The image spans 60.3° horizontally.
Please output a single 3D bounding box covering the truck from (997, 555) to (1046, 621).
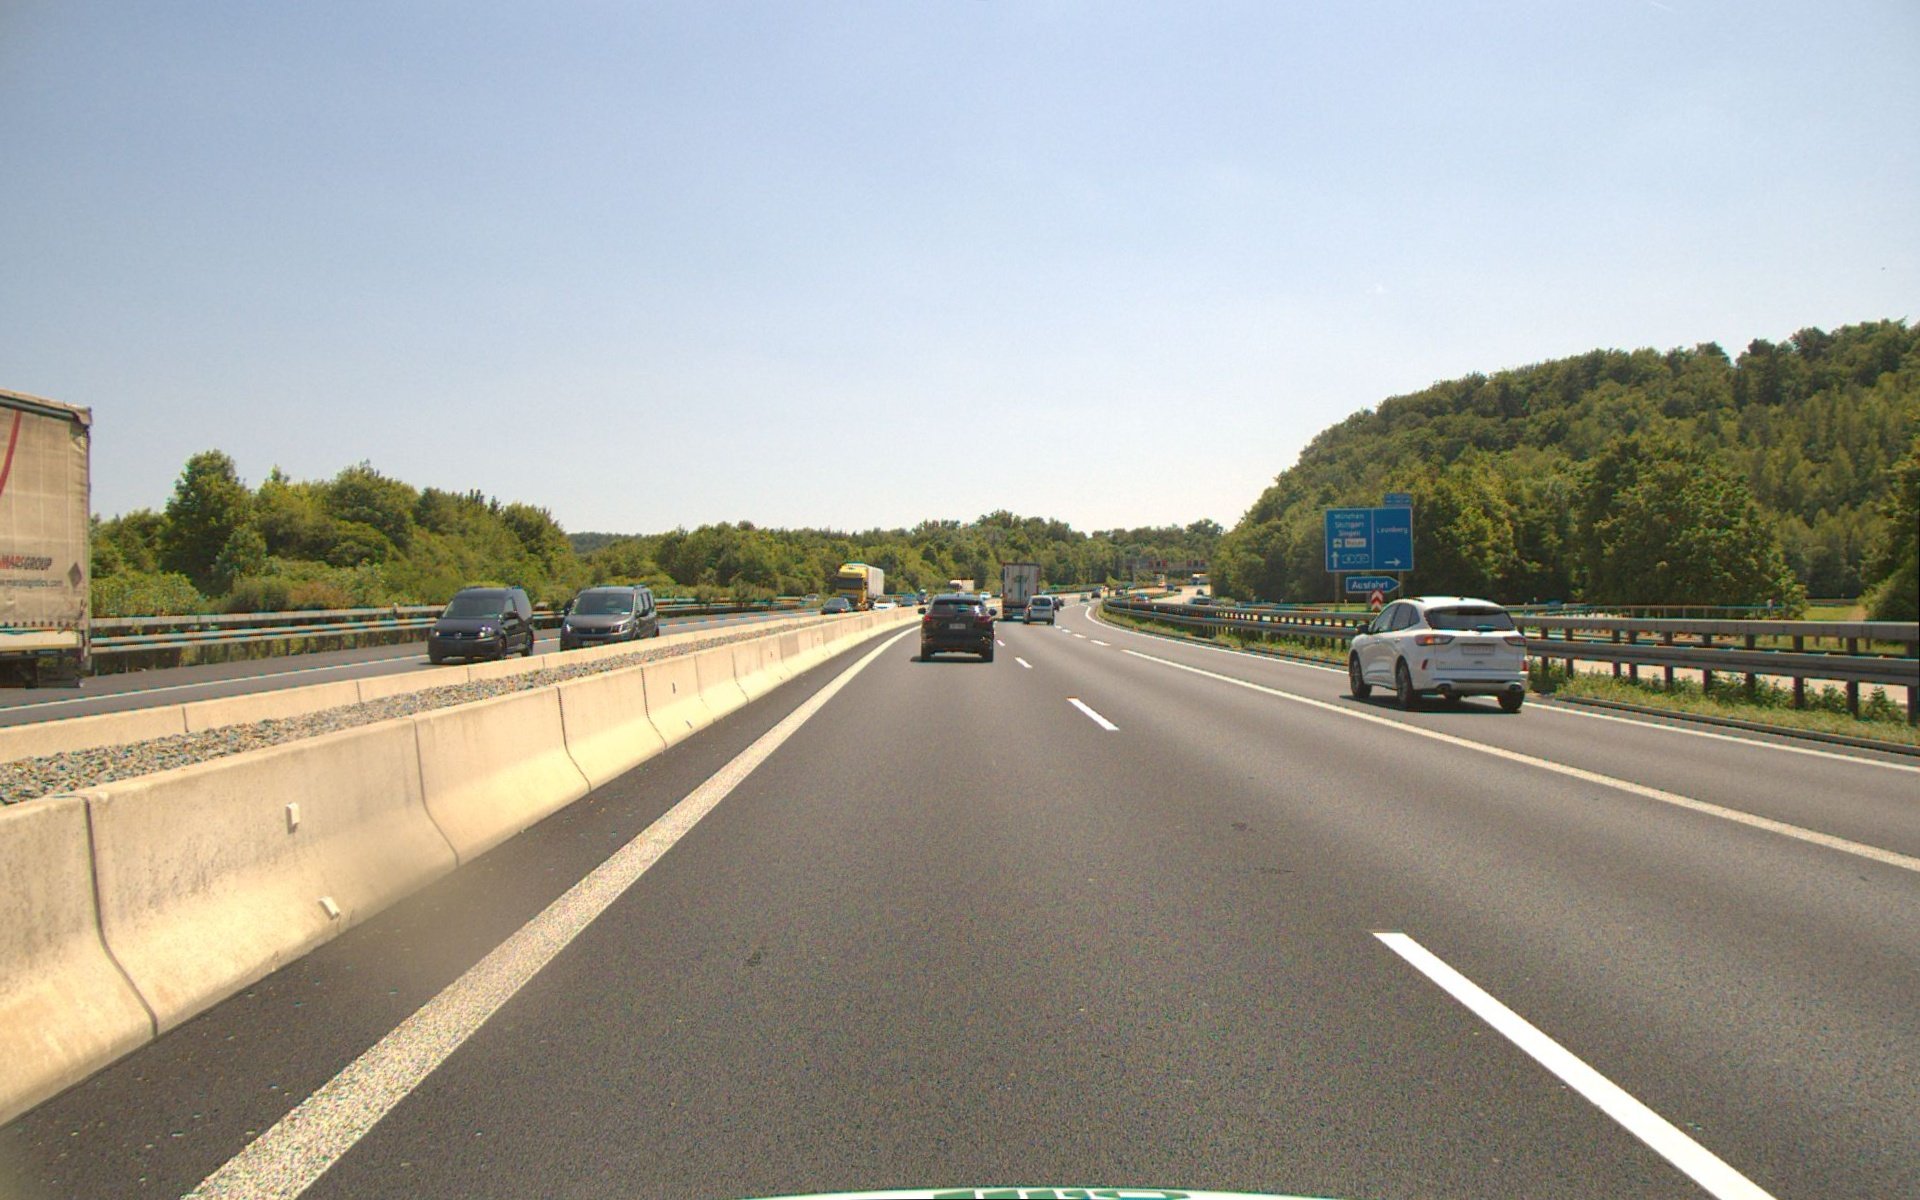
[{"bbox_3d":[4.554,-0.793,120.945,2.968,4.496,12.025,1,0,5],"label":"truck"}]

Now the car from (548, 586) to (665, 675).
[{"bbox_3d":[-8.690,0.735,41.062,2.010,2.049,4.952,1,0,-2],"label":"car"}]

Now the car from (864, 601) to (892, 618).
[{"bbox_3d":[-6.792,0.760,137.890,1.952,1.398,4.664,0,0,2],"label":"car"}]

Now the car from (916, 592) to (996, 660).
[{"bbox_3d":[-0.155,0.627,41.109,1.744,1.605,3.997,1,0,-4],"label":"car"}]

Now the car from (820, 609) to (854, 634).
[{"bbox_3d":[-8.004,1.365,108.068,1.693,1.563,4.614,1,0,2],"label":"car"}]

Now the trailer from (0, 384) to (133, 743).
[{"bbox_3d":[-12.418,-0.449,15.979,2.850,4.116,12.061,1,0,-1],"label":"trailer"}]

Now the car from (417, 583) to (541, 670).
[{"bbox_3d":[-11.991,0.644,41.529,1.953,2.049,4.482,1,0,-2],"label":"car"}]

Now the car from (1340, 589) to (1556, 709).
[{"bbox_3d":[7.536,0.717,26.027,1.953,1.691,4.466,1,0,-2],"label":"car"}]

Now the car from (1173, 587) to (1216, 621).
[{"bbox_3d":[14.659,0.269,103.634,1.954,2.049,3.998,-1,0,-3],"label":"car"}]

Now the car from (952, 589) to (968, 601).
[{"bbox_3d":[0.050,-0.765,251.984,1.829,1.695,4.667,1,0,8],"label":"car"}]

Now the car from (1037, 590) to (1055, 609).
[{"bbox_3d":[9.697,-0.066,185.856,1.952,2.049,4.002,1,0,4],"label":"car"}]

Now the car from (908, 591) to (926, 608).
[{"bbox_3d":[-5.333,-0.082,206.470,1.952,2.117,4.704,0,0,1],"label":"car"}]

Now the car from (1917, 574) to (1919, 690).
[{"bbox_3d":[15.175,0.470,21.470,1.954,1.691,5.621,1,0,-4],"label":"car"}]

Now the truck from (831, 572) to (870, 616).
[{"bbox_3d":[-9.741,-0.518,147.872,2.691,3.820,4.869,1,0,5],"label":"truck"}]

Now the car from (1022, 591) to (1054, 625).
[{"bbox_3d":[5.012,0.506,105.983,1.952,2.049,4.002,-2,0,4],"label":"car"}]
